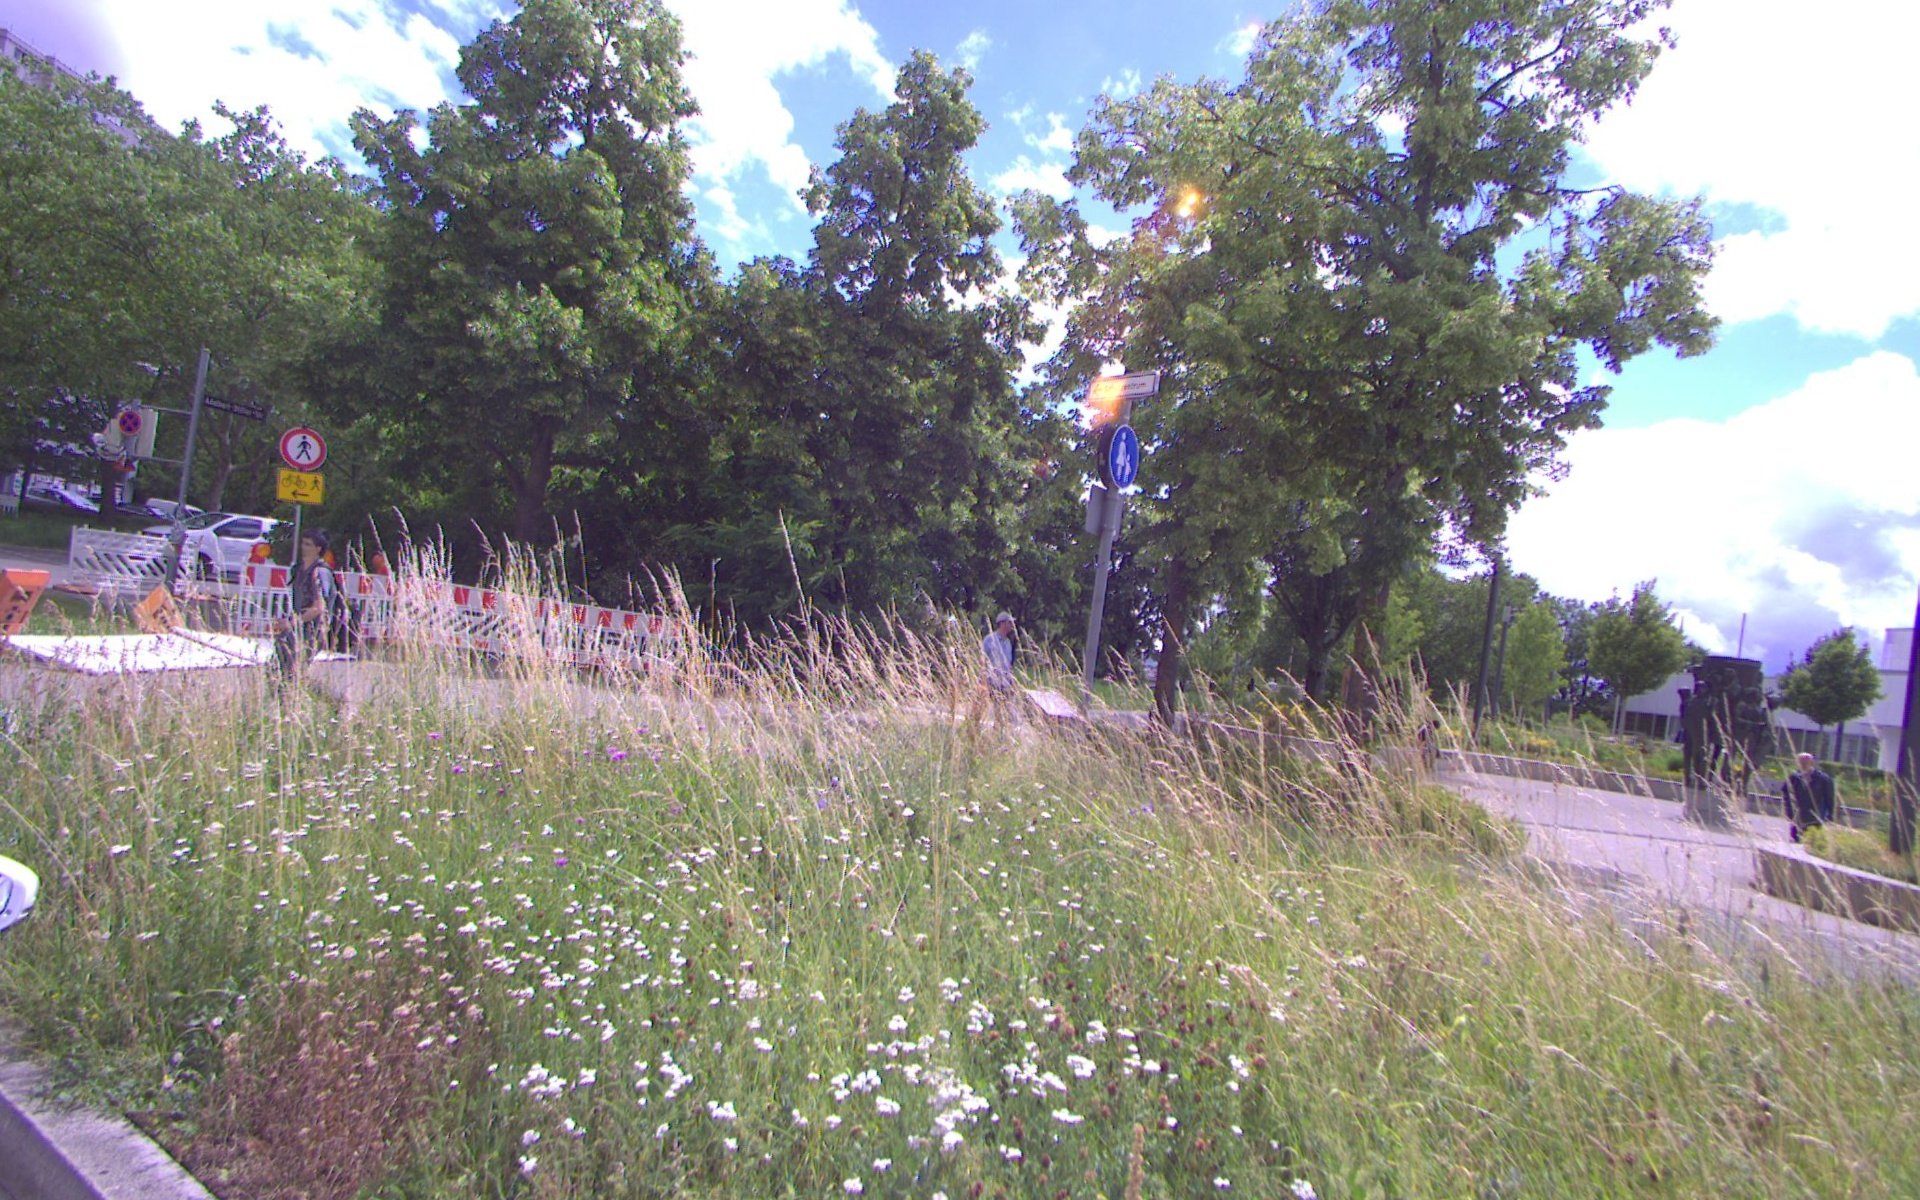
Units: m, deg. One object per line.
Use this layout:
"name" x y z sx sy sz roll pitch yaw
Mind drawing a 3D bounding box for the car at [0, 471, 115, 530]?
"car" -43.692 -4.780 48.568 3.926 2.037 2.001 8 -1 0

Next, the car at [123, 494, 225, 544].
"car" -44.239 -4.532 56.687 3.926 2.037 2.001 8 -1 0

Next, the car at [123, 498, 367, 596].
"car" -19.718 -1.387 28.045 1.915 1.895 5.090 7 -2 28

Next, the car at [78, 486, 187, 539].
"car" -43.785 -4.604 53.284 3.926 2.037 2.001 8 -1 0

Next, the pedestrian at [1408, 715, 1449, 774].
"pedestrian" 10.777 3.308 23.137 0.623 1.236 0.618 7 -1 36

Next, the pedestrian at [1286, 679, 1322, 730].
"pedestrian" 15.016 4.565 43.895 1.137 2.037 0.817 8 0 30

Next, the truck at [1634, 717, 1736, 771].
"truck" 37.321 7.392 51.907 1.965 2.037 3.999 8 -1 -4

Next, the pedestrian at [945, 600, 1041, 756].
"pedestrian" 0.435 1.002 12.932 0.751 1.862 0.772 7 -1 26

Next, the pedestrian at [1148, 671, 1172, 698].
"pedestrian" 12.847 5.438 64.622 1.135 1.571 0.818 8 -1 -2

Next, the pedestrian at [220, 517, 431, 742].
"pedestrian" -4.936 0.237 7.866 0.828 1.570 0.949 7 -1 27

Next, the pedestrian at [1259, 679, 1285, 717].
"pedestrian" 15.269 4.802 49.222 0.879 1.732 0.817 8 -1 30

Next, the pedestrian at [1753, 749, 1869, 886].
"pedestrian" 11.520 2.927 13.636 0.753 1.644 0.770 8 -1 -16

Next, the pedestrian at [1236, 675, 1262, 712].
"pedestrian" 14.252 4.629 49.625 0.872 1.681 0.817 8 -1 30
